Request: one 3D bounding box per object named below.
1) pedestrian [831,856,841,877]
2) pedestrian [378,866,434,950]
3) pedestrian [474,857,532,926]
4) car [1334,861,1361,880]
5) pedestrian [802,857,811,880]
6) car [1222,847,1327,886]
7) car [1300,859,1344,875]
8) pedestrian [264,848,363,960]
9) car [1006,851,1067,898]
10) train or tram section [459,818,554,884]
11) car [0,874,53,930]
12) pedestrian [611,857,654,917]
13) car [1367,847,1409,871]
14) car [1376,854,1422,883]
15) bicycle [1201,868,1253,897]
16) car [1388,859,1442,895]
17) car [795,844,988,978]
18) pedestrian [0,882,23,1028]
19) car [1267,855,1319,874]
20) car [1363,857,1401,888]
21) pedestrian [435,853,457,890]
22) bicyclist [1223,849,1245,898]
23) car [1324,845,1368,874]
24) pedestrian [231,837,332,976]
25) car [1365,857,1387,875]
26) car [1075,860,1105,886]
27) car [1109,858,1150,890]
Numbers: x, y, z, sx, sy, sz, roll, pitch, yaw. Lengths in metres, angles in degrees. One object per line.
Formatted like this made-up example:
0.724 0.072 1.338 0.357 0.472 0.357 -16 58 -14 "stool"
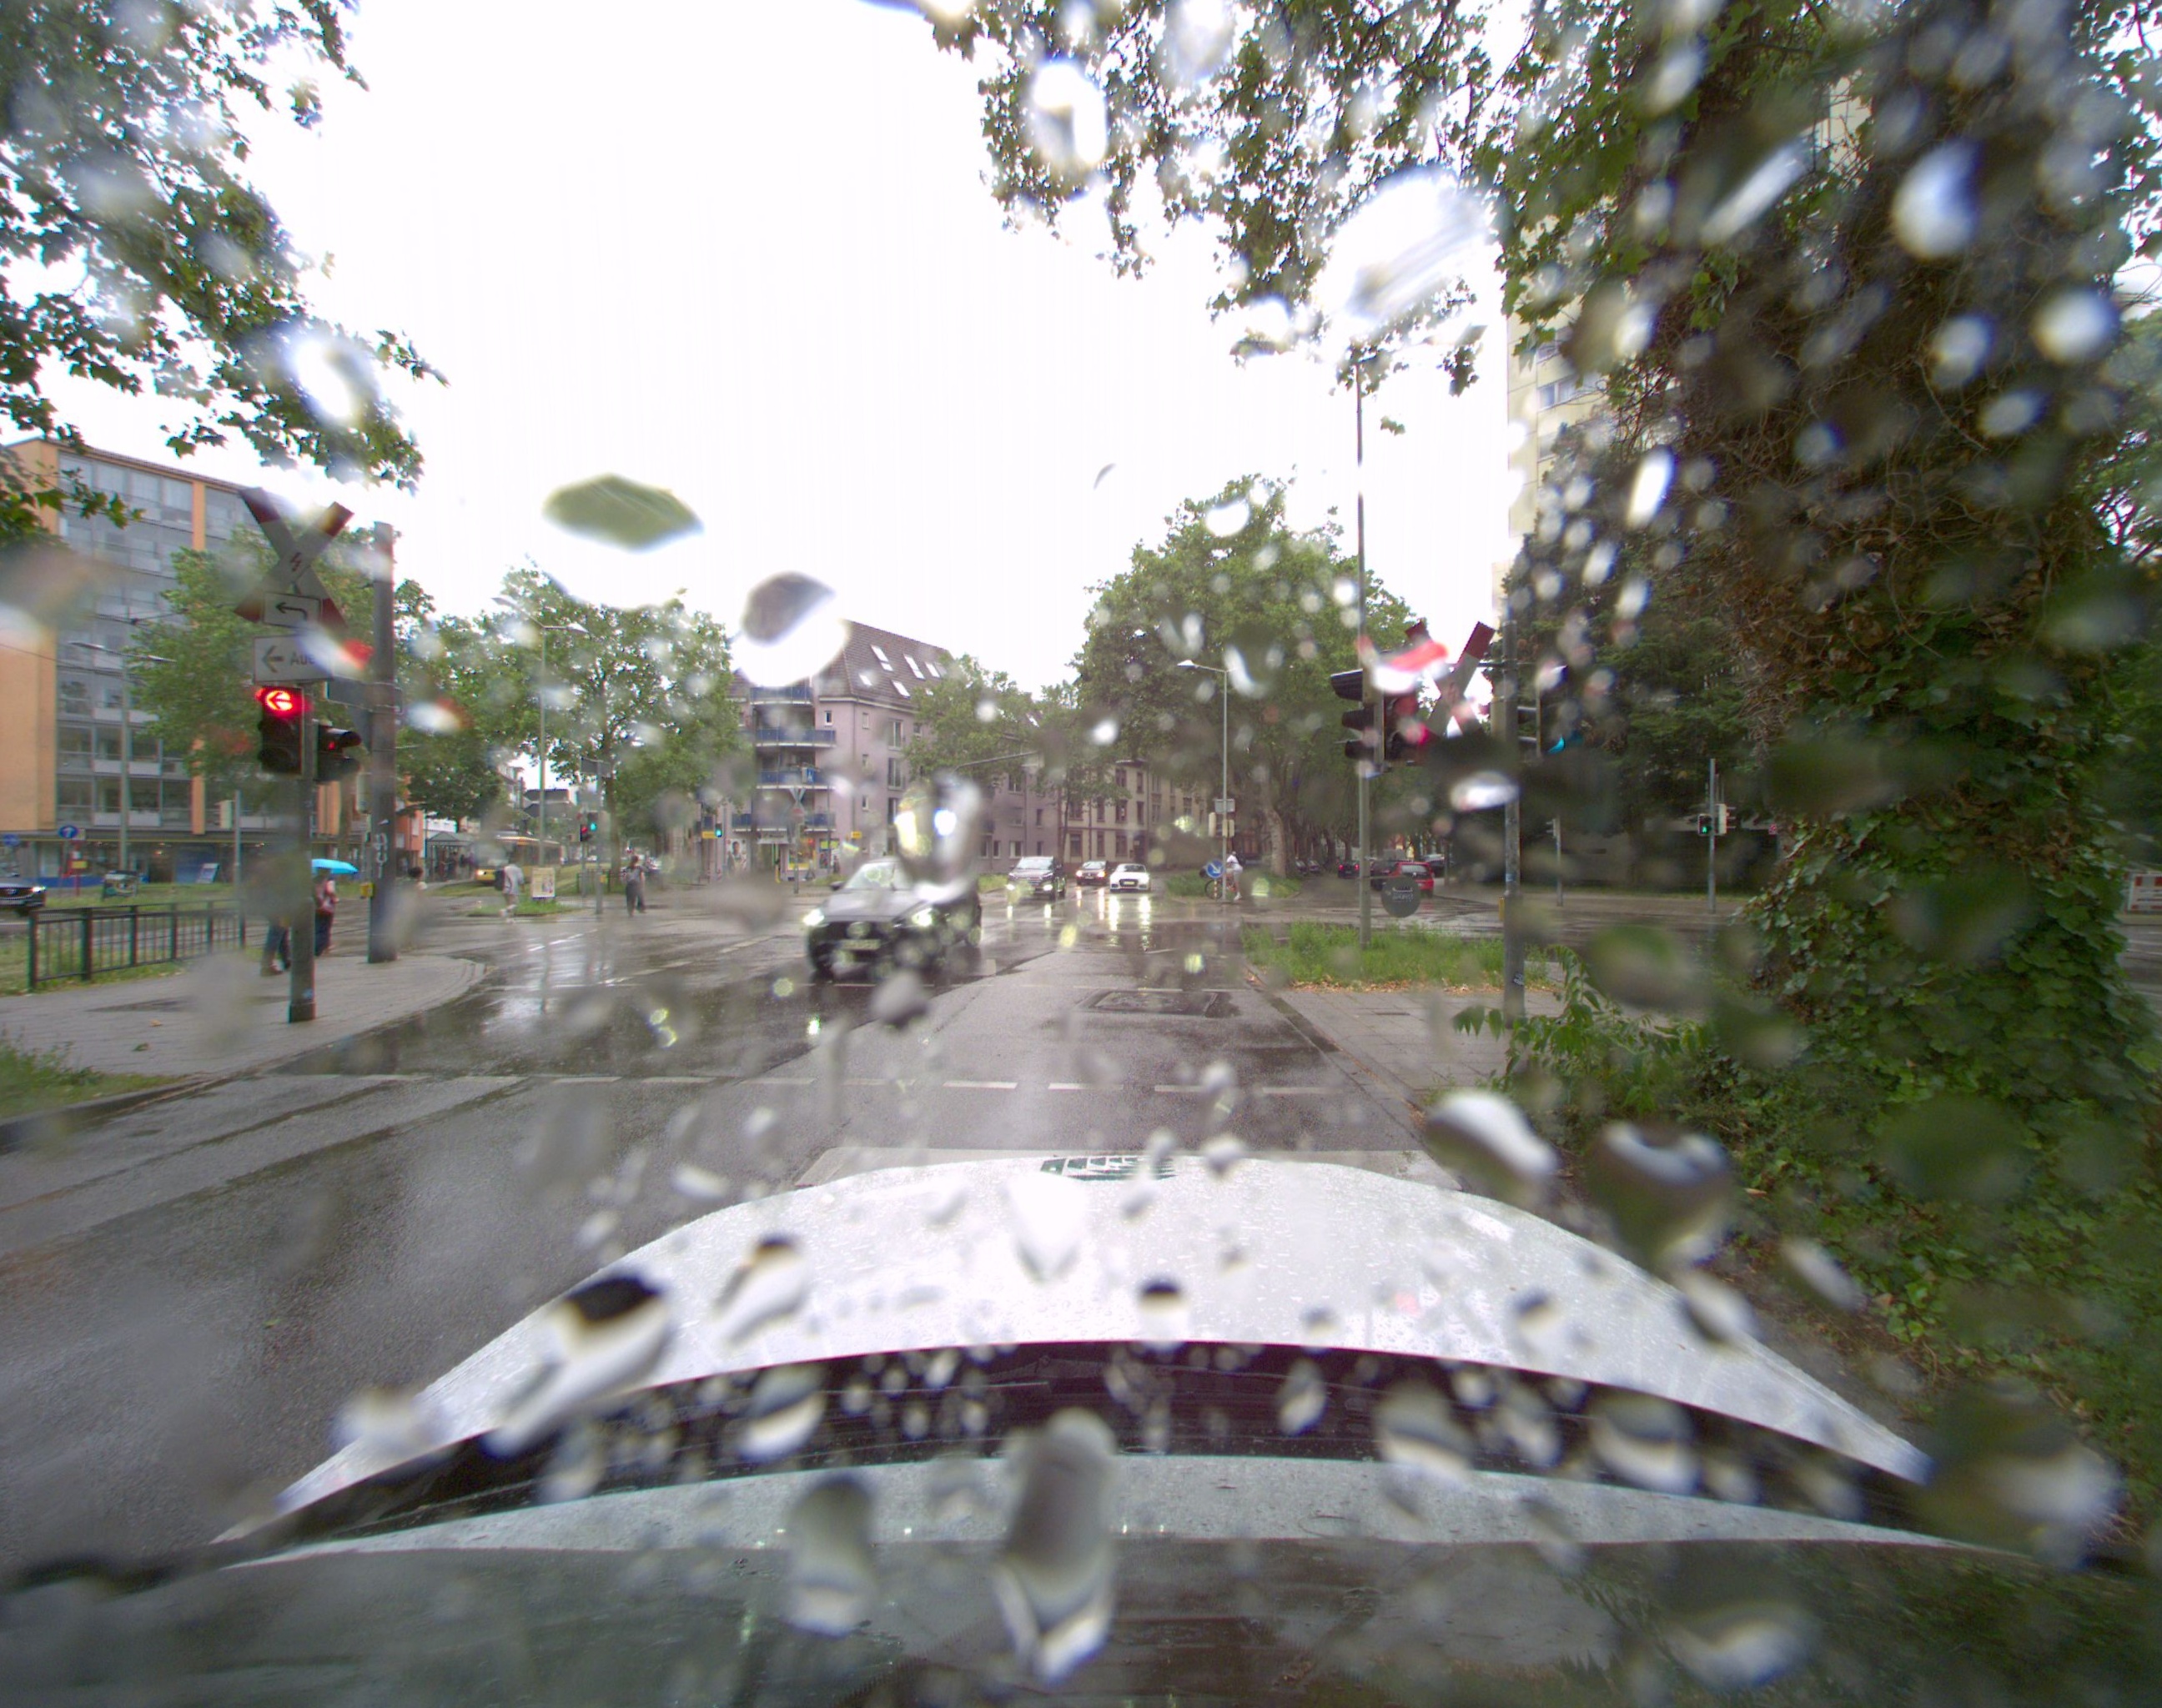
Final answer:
-15.922 0.798 52.931 0.443 1.329 0.561 0 -1 -3 "pedestrian"
-11.747 0.906 14.188 0.653 1.396 0.774 0 0 -33 "pedestrian"
-13.736 0.871 19.384 0.671 1.600 0.968 0 -1 2 "pedestrian"
20.716 1.258 63.257 1.666 1.474 3.683 -1 -1 23 "car"
-17.789 0.935 52.848 0.444 1.457 0.560 0 -1 -8 "pedestrian"
7.758 0.517 32.670 3.958 1.486 2.008 -1 -1 14 "car"
23.141 1.256 78.268 3.958 1.547 2.008 -1 -1 14 "car"
-12.679 0.794 13.494 0.962 1.766 0.944 0 -1 -28 "pedestrian"
-1.644 0.747 31.735 1.795 1.682 4.608 0 0 4 "car"
-37.870 -0.075 54.381 2.897 3.768 17.089 0 -1 -28 "train or tram section"
-32.243 1.363 23.468 3.994 1.530 1.615 0 1 12 "car"
-11.730 0.853 21.316 0.749 1.533 0.789 0 -1 -9 "pedestrian"
38.993 0.646 103.576 2.006 2.948 4.726 0 -1 -29 "car"
15.899 0.696 40.877 1.770 1.348 3.945 0 1 16 "car"
5.437 1.068 30.410 1.862 1.081 0.658 -1 -1 9 "bicycle"
14.831 0.980 36.342 1.778 1.498 4.017 0 0 16 "car"
-2.524 0.680 11.903 1.745 1.591 4.235 -1 0 1 "car"
-10.275 0.936 7.297 0.657 1.349 0.706 0 0 -12 "pedestrian"
16.934 0.842 65.196 3.958 1.486 2.008 -1 -1 14 "car"
17.556 1.063 47.609 1.769 1.727 4.017 -1 -1 16 "car"
-38.206 1.039 49.001 0.889 2.151 0.902 0 -1 -30 "pedestrian"
5.695 0.713 30.374 0.790 1.786 0.699 -1 -1 9 "bicyclist"
28.327 0.591 87.224 2.040 2.948 4.742 0 -1 -18 "car"
-11.057 0.697 11.292 0.791 1.855 0.676 0 0 -22 "pedestrian"
27.815 1.120 76.643 1.759 1.678 4.022 -1 -1 23 "car"
0.533 1.089 48.409 1.708 1.459 3.748 0 -1 1 "car"
2.356 0.935 39.197 1.876 1.436 4.004 0 0 4 "car"
